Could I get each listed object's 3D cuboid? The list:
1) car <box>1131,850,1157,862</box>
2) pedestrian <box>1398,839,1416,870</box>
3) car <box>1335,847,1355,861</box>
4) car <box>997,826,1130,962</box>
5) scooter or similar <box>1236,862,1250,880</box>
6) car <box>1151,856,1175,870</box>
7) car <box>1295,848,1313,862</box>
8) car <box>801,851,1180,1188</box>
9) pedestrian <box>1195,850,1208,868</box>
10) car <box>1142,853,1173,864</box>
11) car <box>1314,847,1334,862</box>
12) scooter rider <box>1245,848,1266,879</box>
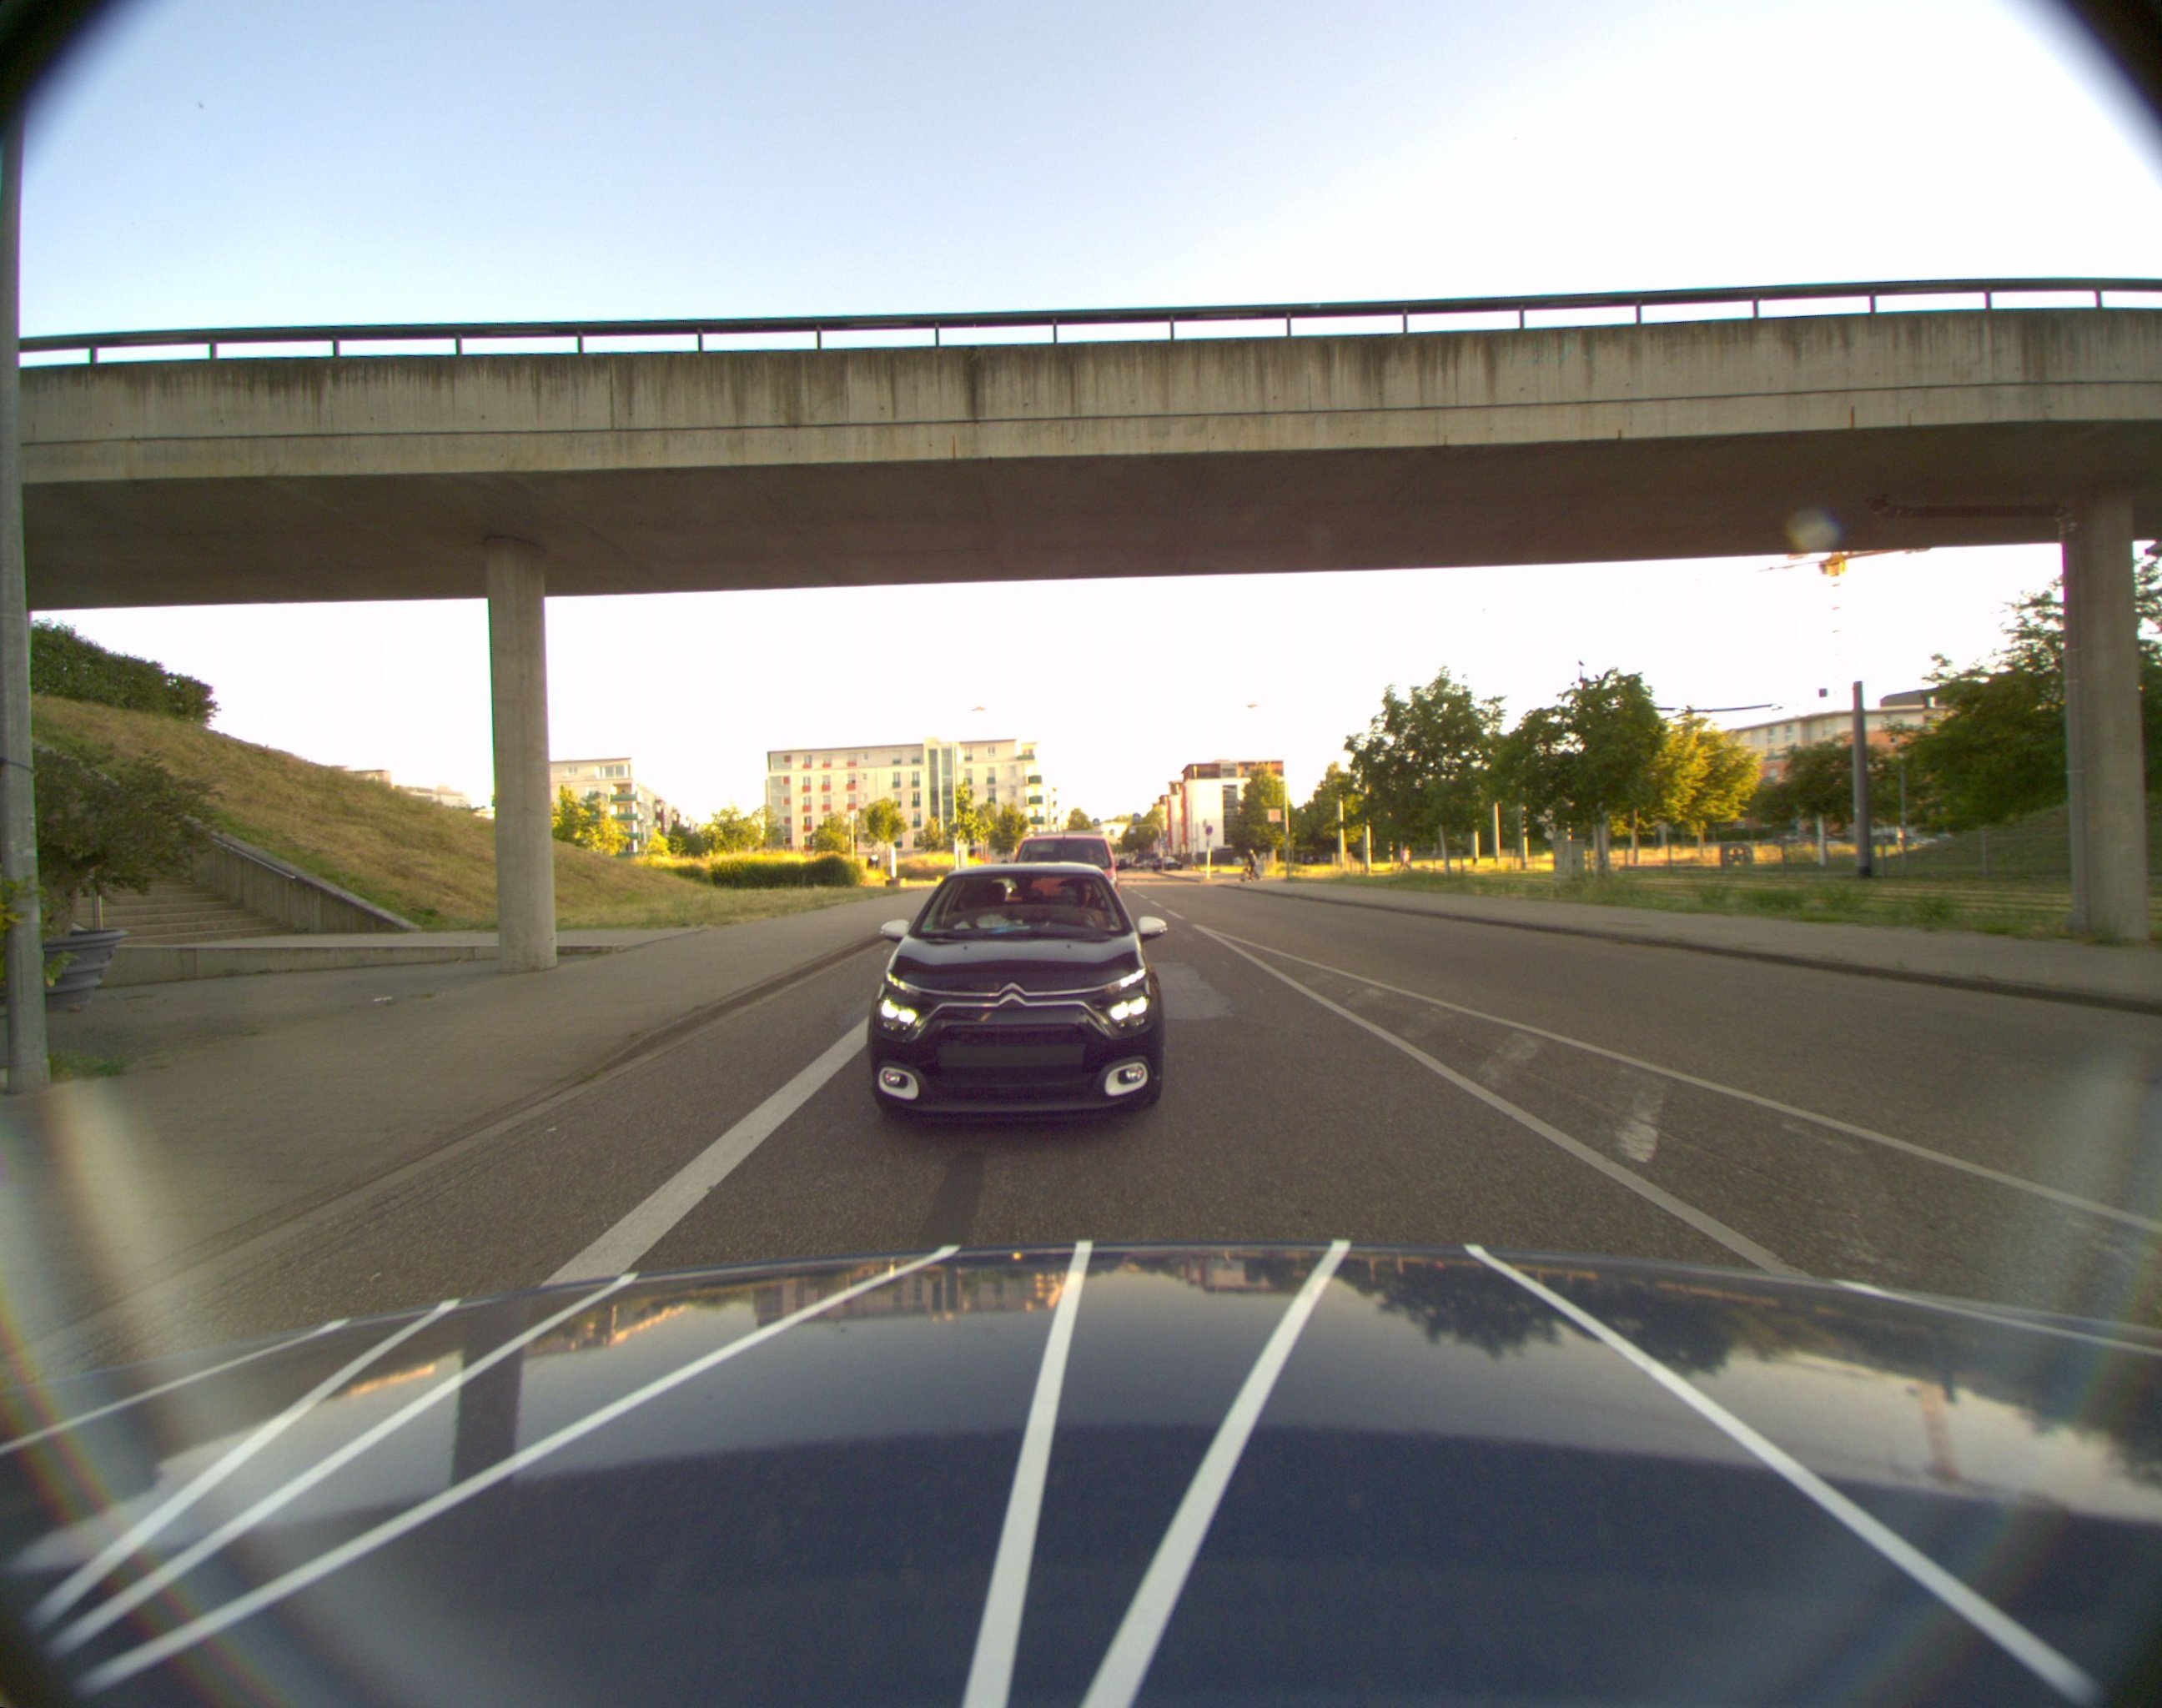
[{"bbox_3d":[11.980,0.382,144.155,4.745,2.002,1.999,-2,1,-2],"label":"car"},{"bbox_3d":[17.397,0.035,40.603,0.779,1.602,0.417,-2,0,12],"label":"pedestrian"},{"bbox_3d":[33.491,-0.040,96.565,1.869,1.710,3.848,-2,0,12],"label":"car"},{"bbox_3d":[-0.287,0.623,13.987,1.931,1.979,4.822,-3,0,-1],"label":"car"},{"bbox_3d":[8.565,0.885,40.150,0.553,0.890,0.722,-1,1,1],"label":"scooter or similar"},{"bbox_3d":[9.511,1.011,87.793,1.996,1.554,4.005,-2,0,16],"label":"car"},{"bbox_3d":[28.535,0.150,97.220,1.869,1.710,3.848,-2,0,12],"label":"car"},{"bbox_3d":[-0.479,0.798,5.679,1.760,1.543,4.071,-2,0,-2],"label":"car"},{"bbox_3d":[13.663,0.546,85.949,1.088,2.002,1.141,-2,1,29],"label":"pedestrian"},{"bbox_3d":[11.448,0.670,113.978,4.387,1.550,1.839,-2,1,2],"label":"car"},{"bbox_3d":[30.980,0.054,96.838,1.869,1.710,3.848,-2,0,9],"label":"car"},{"bbox_3d":[9.226,0.508,40.142,0.898,1.568,0.712,-2,0,1],"label":"scooter rider"}]
